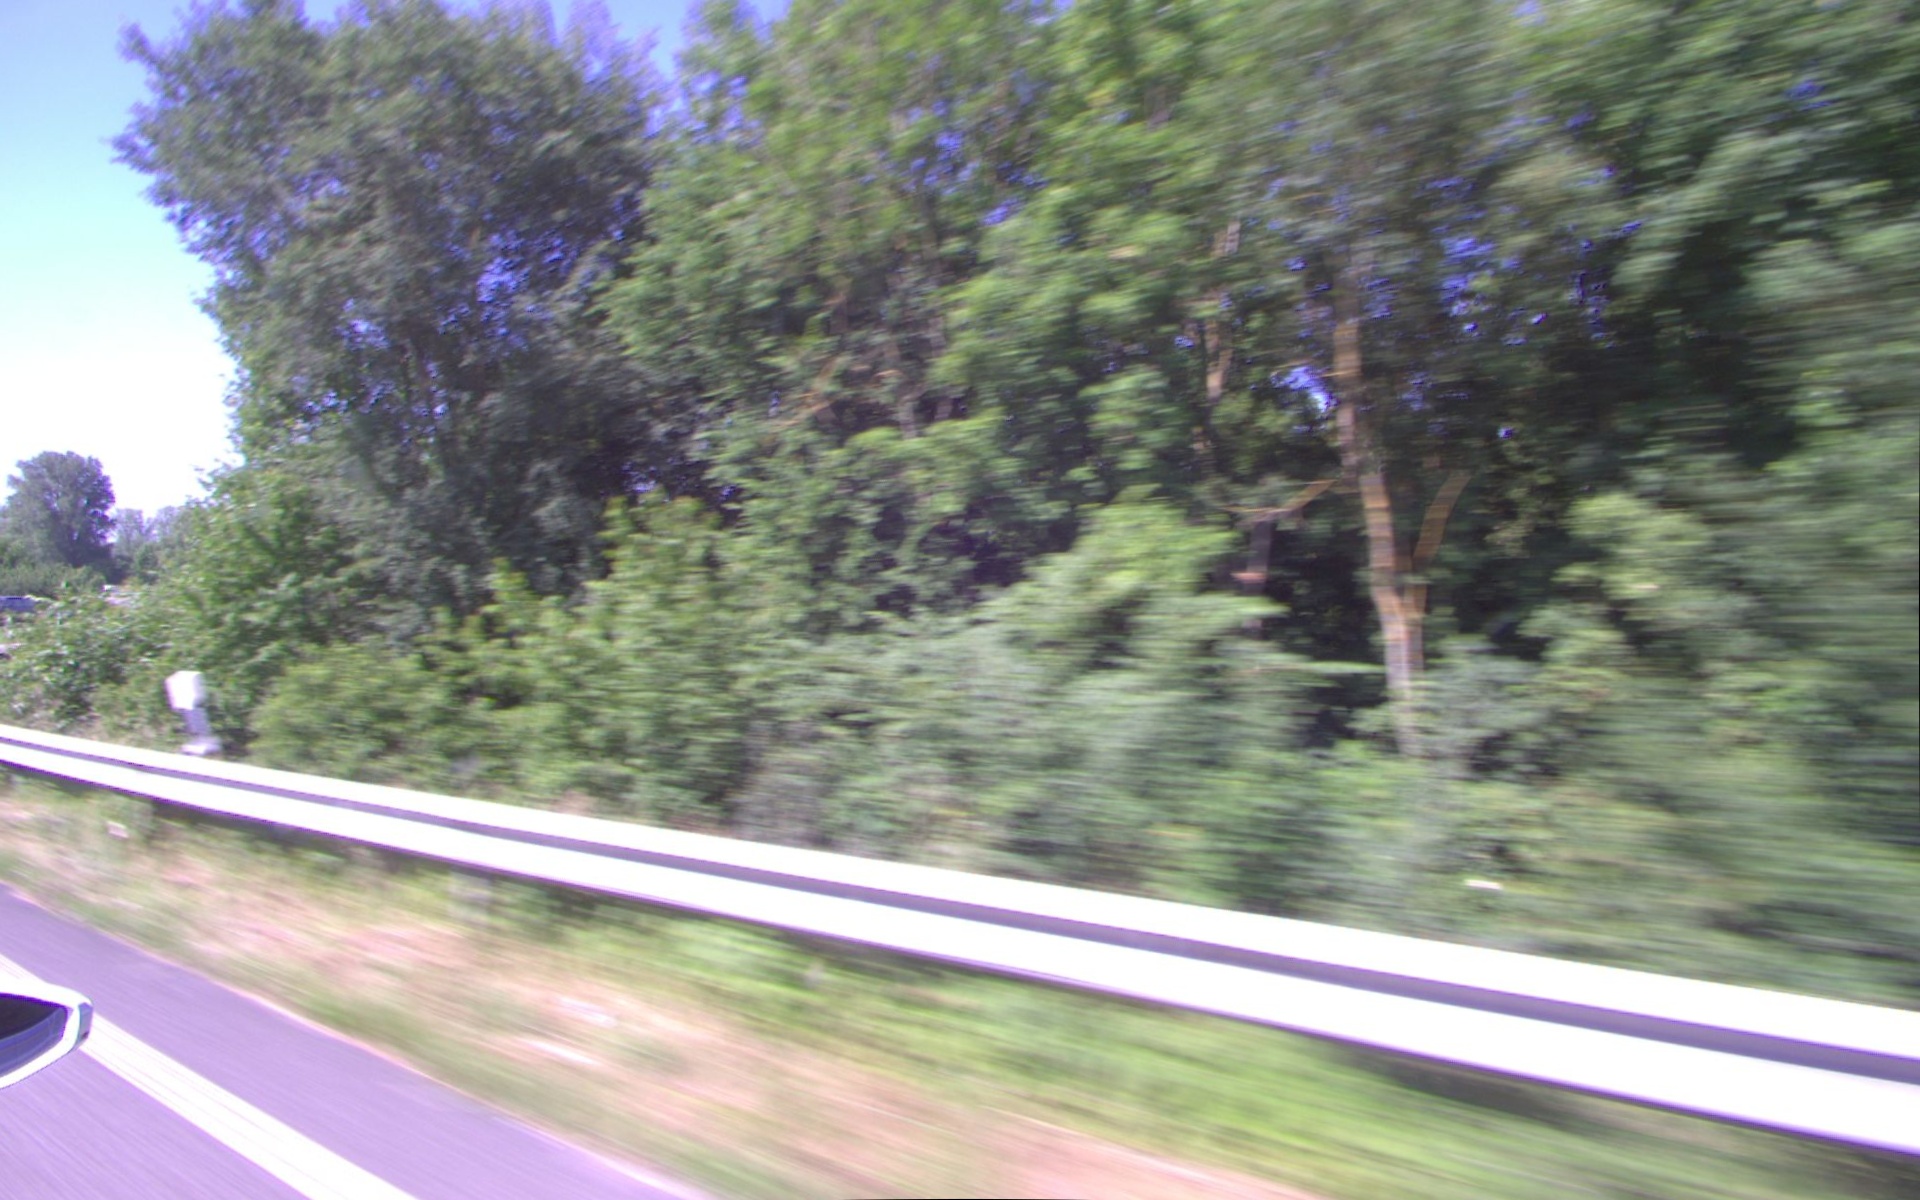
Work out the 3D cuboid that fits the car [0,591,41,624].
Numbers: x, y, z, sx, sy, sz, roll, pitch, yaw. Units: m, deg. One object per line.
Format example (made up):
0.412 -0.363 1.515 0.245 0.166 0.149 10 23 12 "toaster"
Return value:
-61.677 0.448 64.561 1.870 1.906 3.992 2 1 -15 "car"
